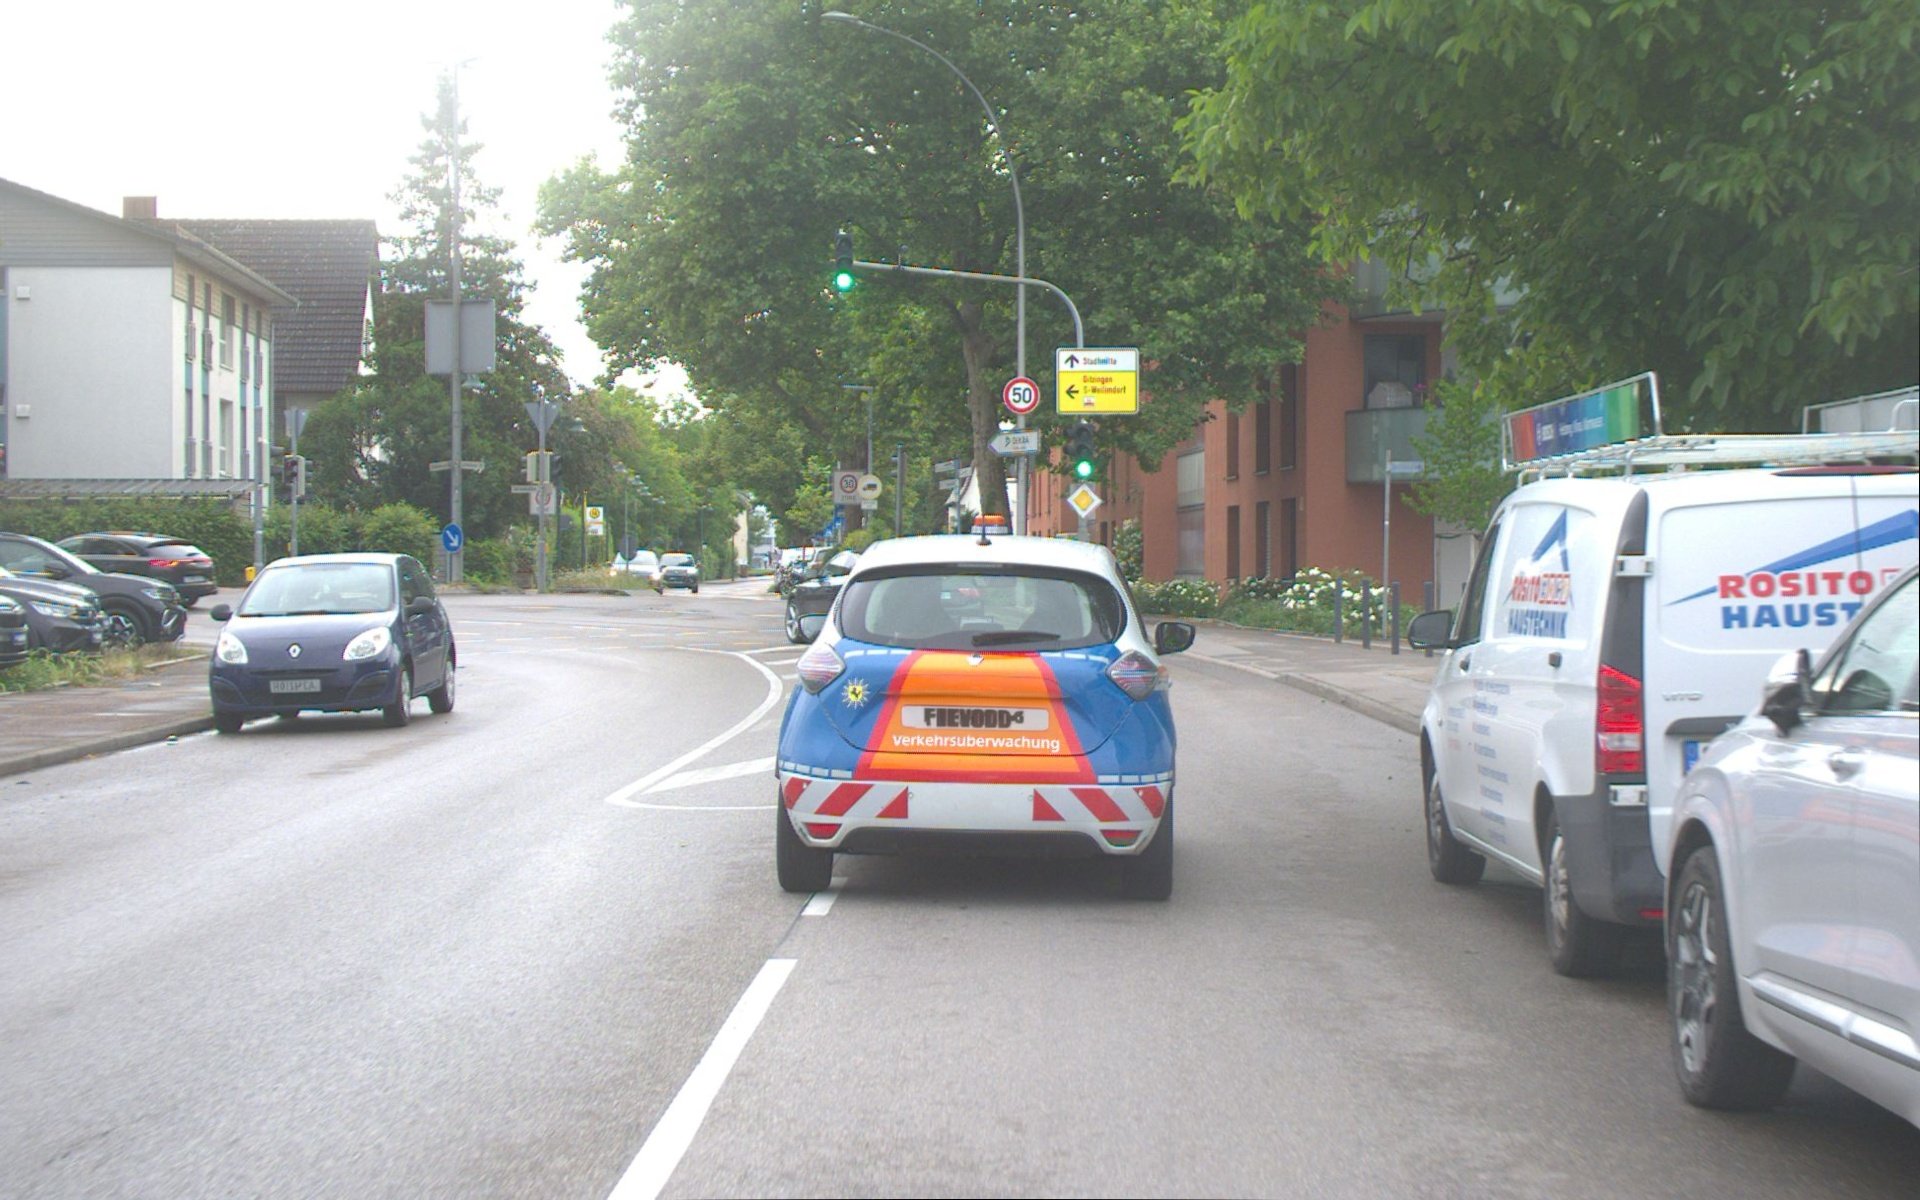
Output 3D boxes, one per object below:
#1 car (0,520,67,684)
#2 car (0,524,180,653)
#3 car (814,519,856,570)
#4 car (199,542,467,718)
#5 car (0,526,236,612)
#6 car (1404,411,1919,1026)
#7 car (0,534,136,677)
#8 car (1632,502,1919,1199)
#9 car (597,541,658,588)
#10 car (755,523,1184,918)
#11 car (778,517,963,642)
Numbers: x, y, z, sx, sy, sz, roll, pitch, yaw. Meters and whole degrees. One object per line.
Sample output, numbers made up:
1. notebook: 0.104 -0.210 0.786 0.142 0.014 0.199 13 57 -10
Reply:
1. car: -10.997 -0.040 33.677 3.987 1.538 1.804 1 1 2
2. car: -11.864 -0.176 43.199 3.945 1.525 1.623 1 2 -11
3. car: -5.207 -2.310 142.855 1.643 2.010 3.716 1 2 -4
4. car: -5.412 0.215 30.055 1.626 1.428 3.684 0 1 1
5. car: -15.470 -0.580 62.807 3.988 1.423 1.800 2 2 7
6. car: 2.954 0.321 13.848 1.778 2.022 4.754 2 2 1
7. car: -10.986 0.010 36.518 3.987 1.436 1.804 1 2 2
8. car: 2.960 0.624 7.891 1.865 1.659 4.320 1 1 -1
9. car: -11.140 -1.186 115.138 1.941 1.447 4.300 2 0 -5
10. car: 0.133 0.449 16.014 1.746 1.575 4.000 0 2 3
11. car: -1.296 -0.317 47.738 1.993 1.568 4.001 1 2 -9
